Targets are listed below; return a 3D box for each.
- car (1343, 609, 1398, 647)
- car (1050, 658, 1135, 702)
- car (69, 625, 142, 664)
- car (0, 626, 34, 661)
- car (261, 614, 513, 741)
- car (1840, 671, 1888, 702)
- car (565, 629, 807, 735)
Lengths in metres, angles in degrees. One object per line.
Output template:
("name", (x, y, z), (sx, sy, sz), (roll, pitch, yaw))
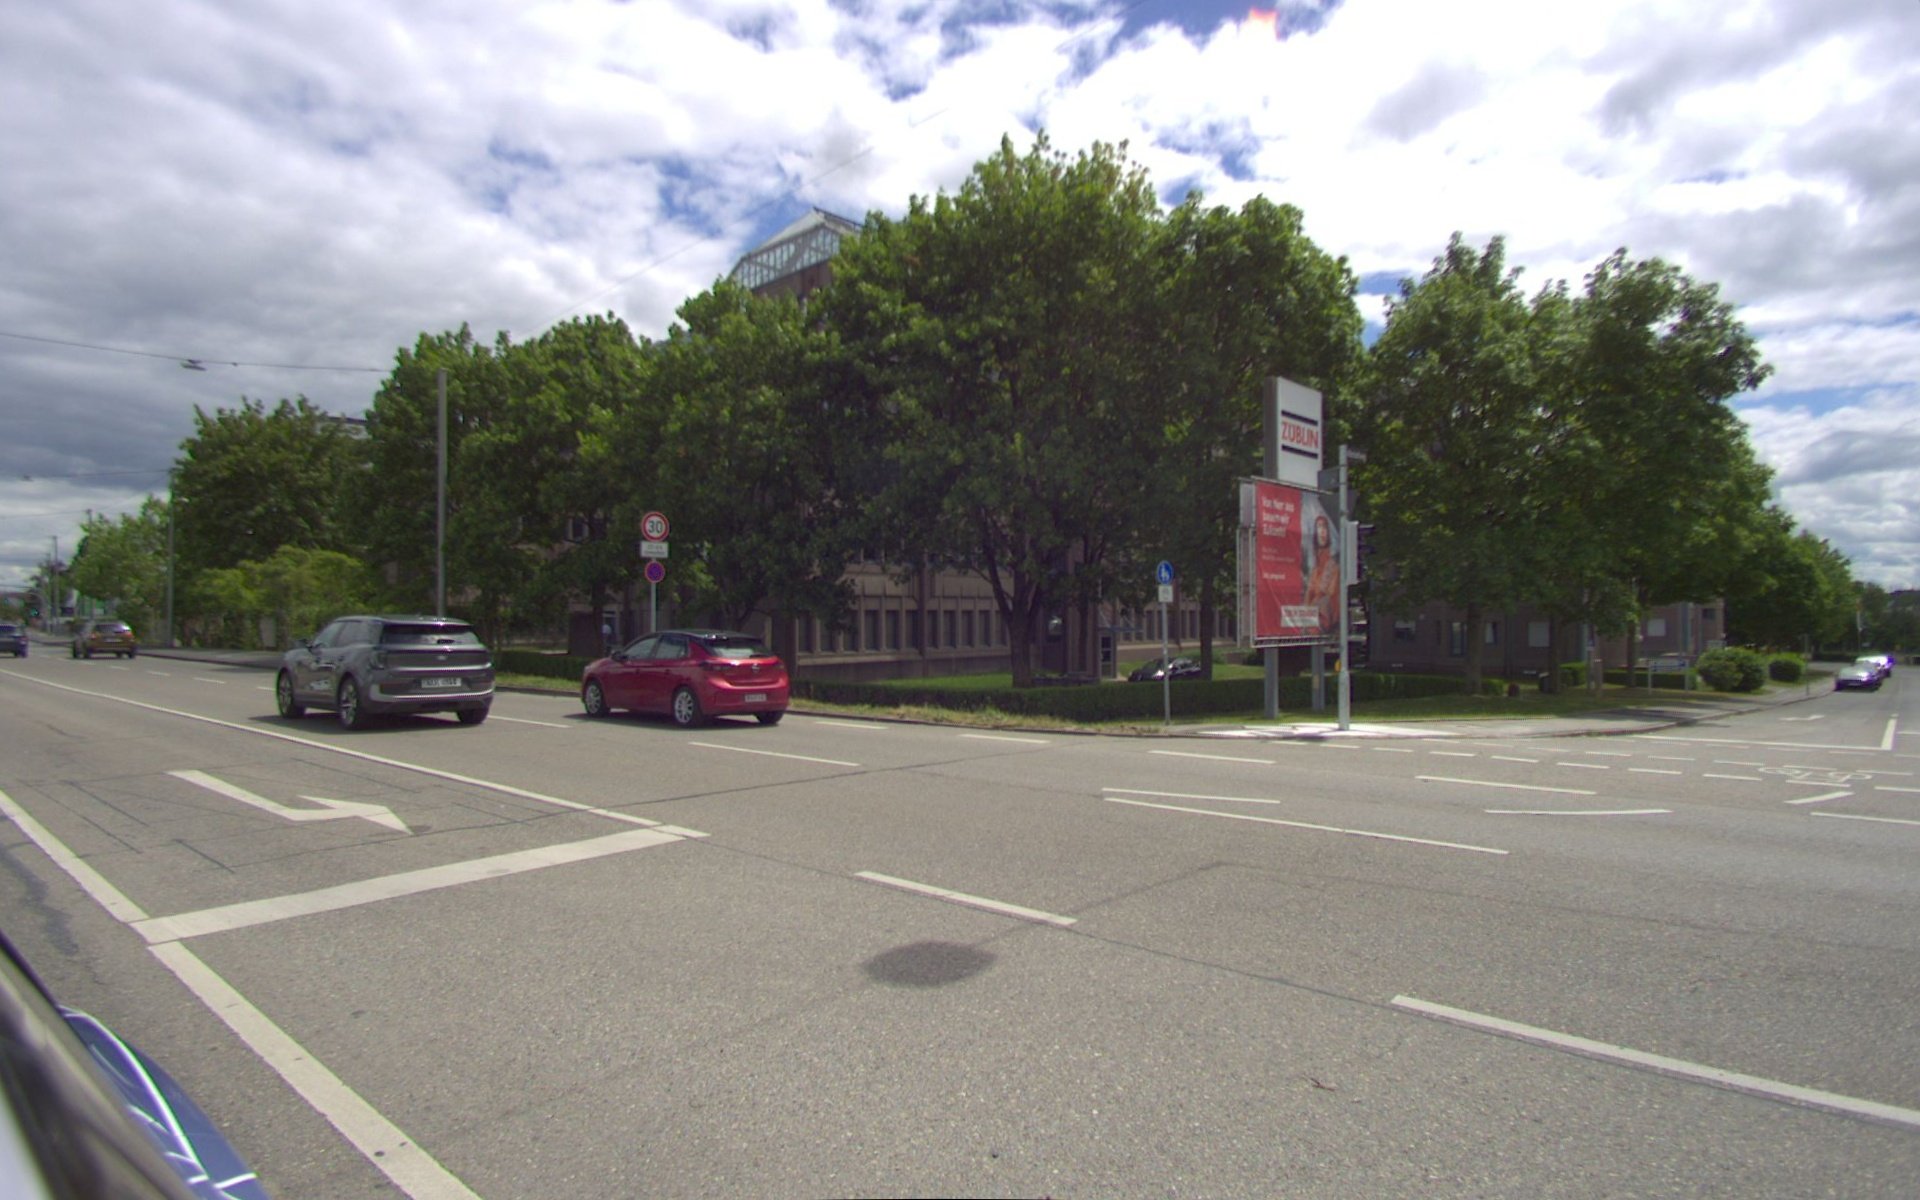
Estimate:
("car", (25.712, 1.744, 63.278), (1.999, 2.259, 3.945), (-1, -1, 41))
("car", (4.385, 2.585, 33.226), (1.531, 1.214, 3.138), (-1, -1, 34))
("car", (-37.834, 1.930, 44.792), (3.998, 1.609, 1.873), (-1, -2, 41))
("car", (-42.310, 1.888, 44.554), (3.997, 1.465, 1.777), (-1, -3, 41))
("car", (-8.692, 1.048, 15.213), (4.303, 1.630, 1.973), (-1, -1, 41))
("car", (52.546, 5.002, 58.877), (1.999, 1.519, 3.944), (-1, -1, 42))
("car", (-4.397, 1.193, 15.969), (3.998, 1.426, 1.762), (-1, -2, 41))
